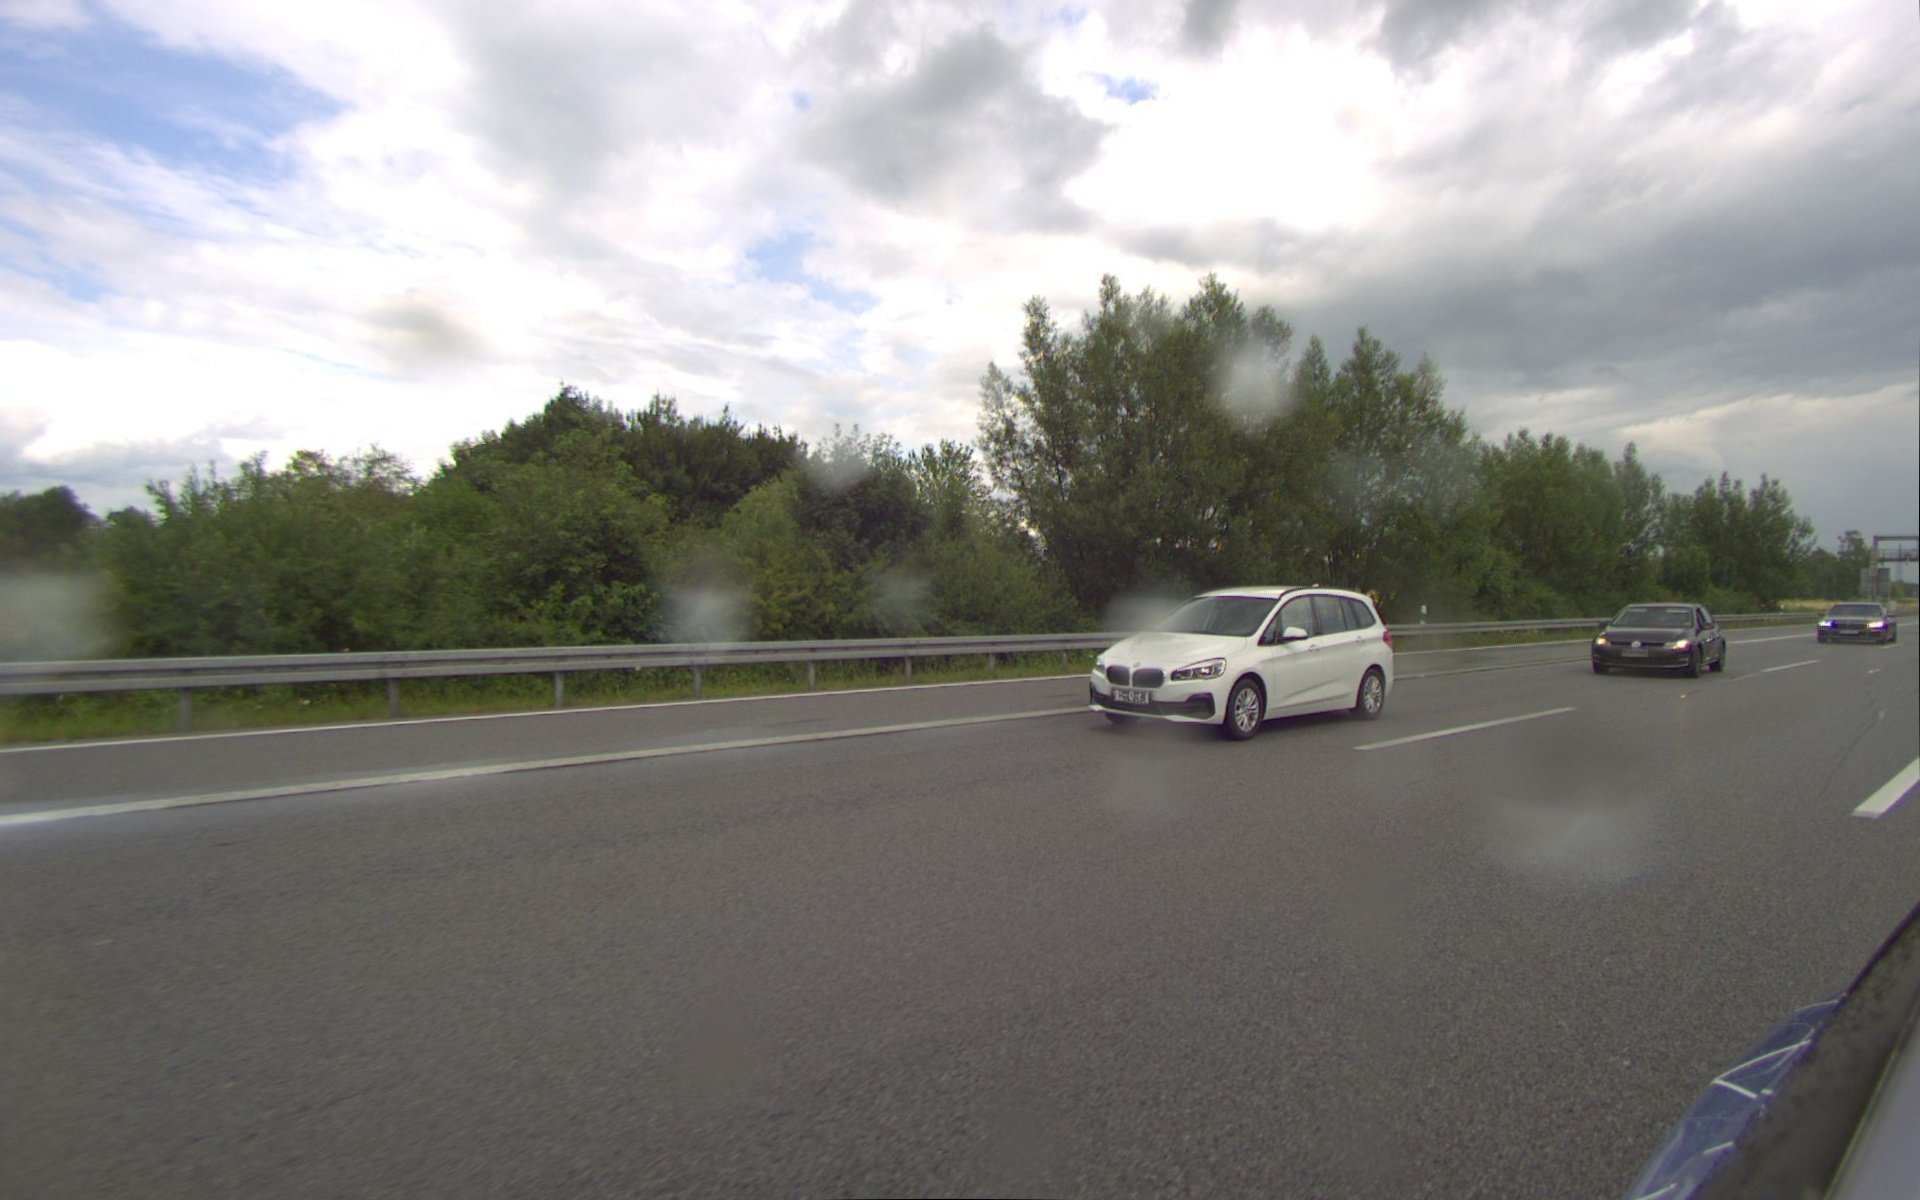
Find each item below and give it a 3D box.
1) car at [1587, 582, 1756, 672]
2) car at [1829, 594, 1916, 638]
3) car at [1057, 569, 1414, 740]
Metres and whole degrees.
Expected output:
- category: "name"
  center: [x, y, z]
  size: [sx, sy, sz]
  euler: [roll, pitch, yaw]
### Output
- category: "car"
  center: [14.625, 0.489, 20.711]
  size: [4.376, 1.651, 1.711]
  euler: [0, 0, -39]
- category: "car"
  center: [33.383, 0.541, 36.995]
  size: [4.694, 1.510, 1.942]
  euler: [0, 1, -43]
- category: "car"
  center: [3.375, 0.501, 11.845]
  size: [4.614, 1.619, 1.813]
  euler: [0, 1, -42]
